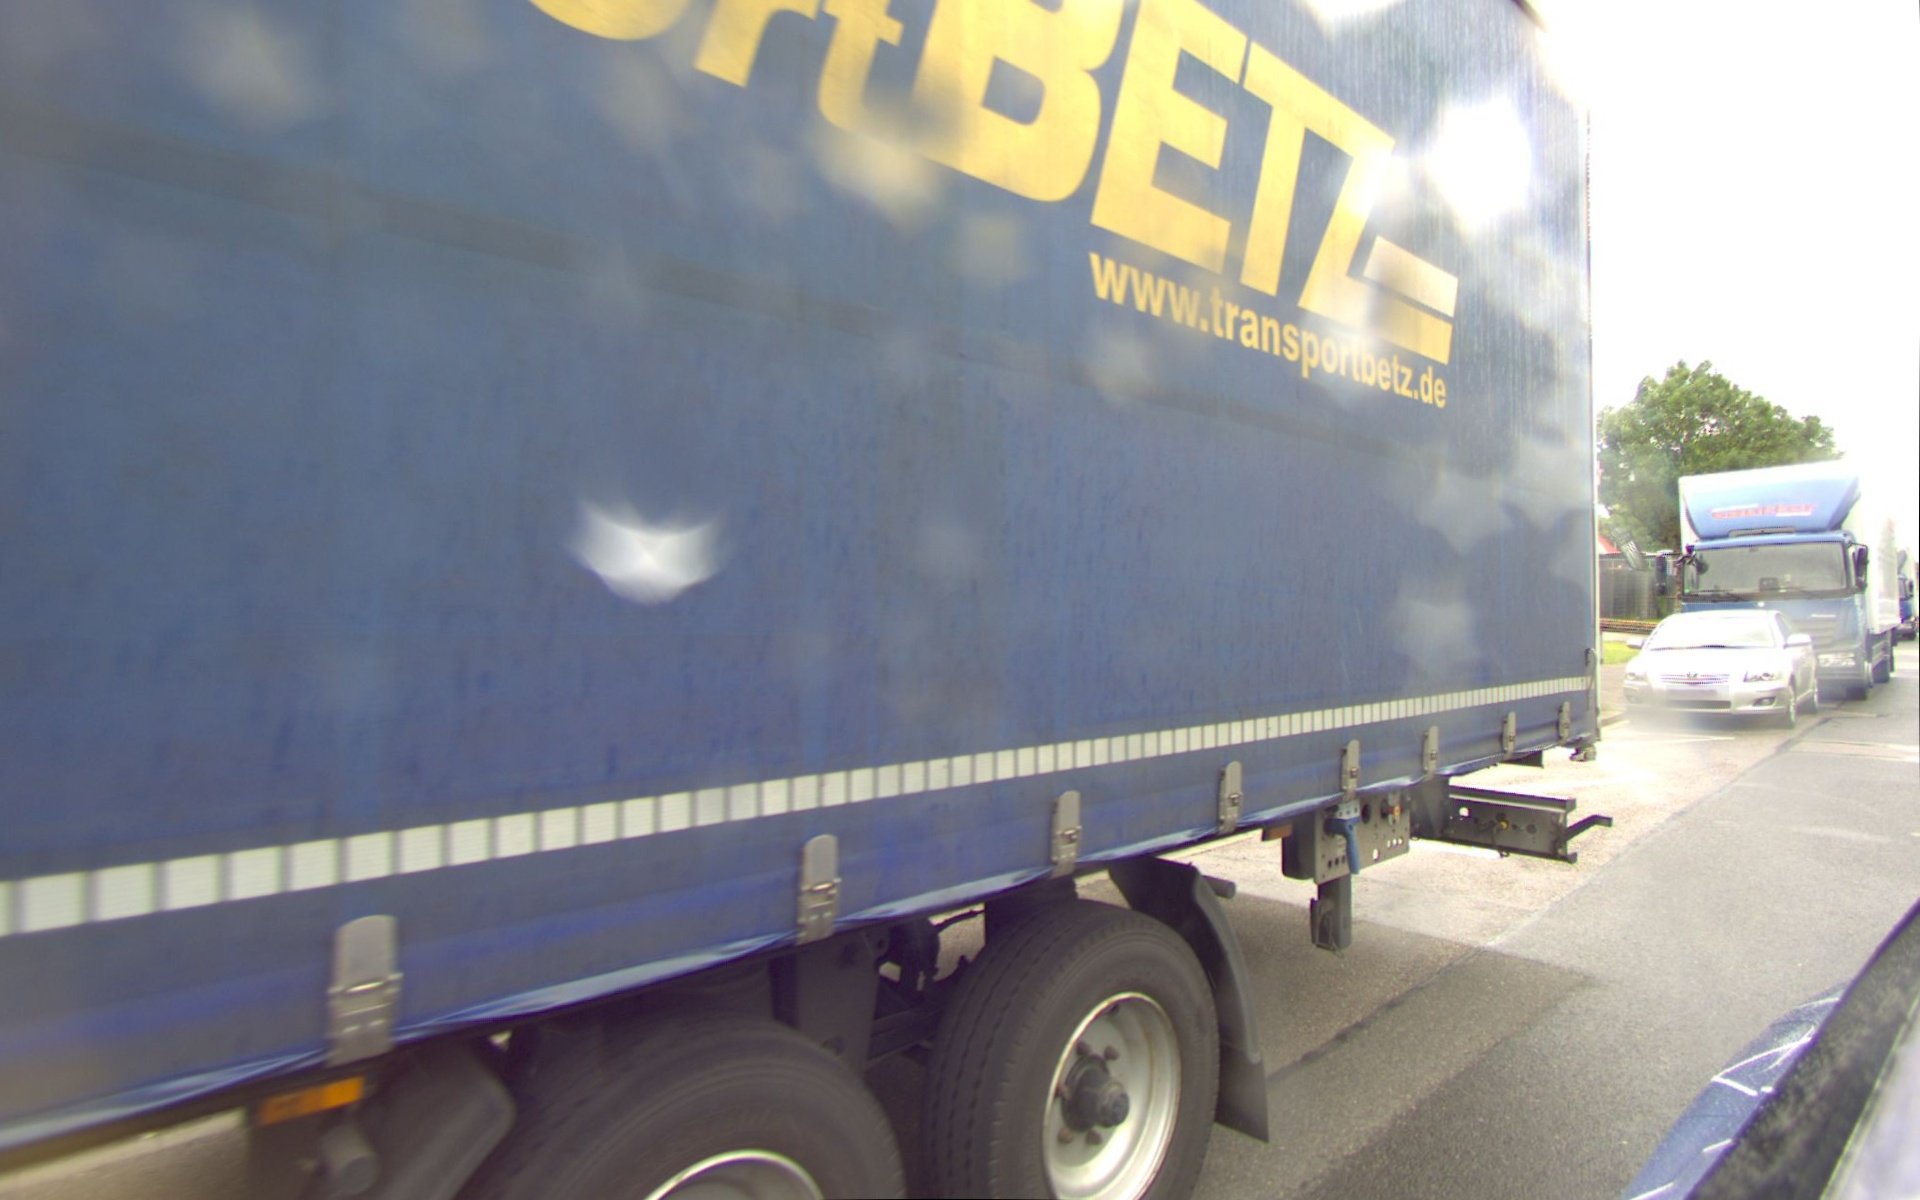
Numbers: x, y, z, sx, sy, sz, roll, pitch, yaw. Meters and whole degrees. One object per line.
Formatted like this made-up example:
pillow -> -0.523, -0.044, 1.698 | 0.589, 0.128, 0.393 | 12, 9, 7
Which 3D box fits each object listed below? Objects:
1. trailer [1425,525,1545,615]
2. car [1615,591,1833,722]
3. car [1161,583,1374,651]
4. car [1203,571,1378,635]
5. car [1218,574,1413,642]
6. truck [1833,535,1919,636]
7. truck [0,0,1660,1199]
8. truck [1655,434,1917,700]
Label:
trailer -> 27.579, -1.488, 52.896 | 2.967, 4.296, 9.320 | 1, 1, 44
car -> 10.402, 0.627, 13.649 | 1.798, 1.459, 4.275 | 2, 1, 44
car -> 6.388, 0.324, 21.336 | 3.925, 1.302, 1.706 | 1, 1, 1
car -> 8.518, 0.062, 26.340 | 3.924, 1.546, 1.873 | 1, 1, 1
car -> 8.298, 0.158, 23.881 | 3.925, 1.488, 1.775 | 1, 1, 1
truck -> 37.606, -0.523, 41.065 | 2.672, 3.739, 7.880 | -2, -2, 45
truck -> -0.854, -0.331, 2.674 | 7.617, 3.657, 2.744 | 0, -1, -42
truck -> 15.596, -0.465, 18.755 | 9.147, 3.838, 2.742 | 0, -1, -45
